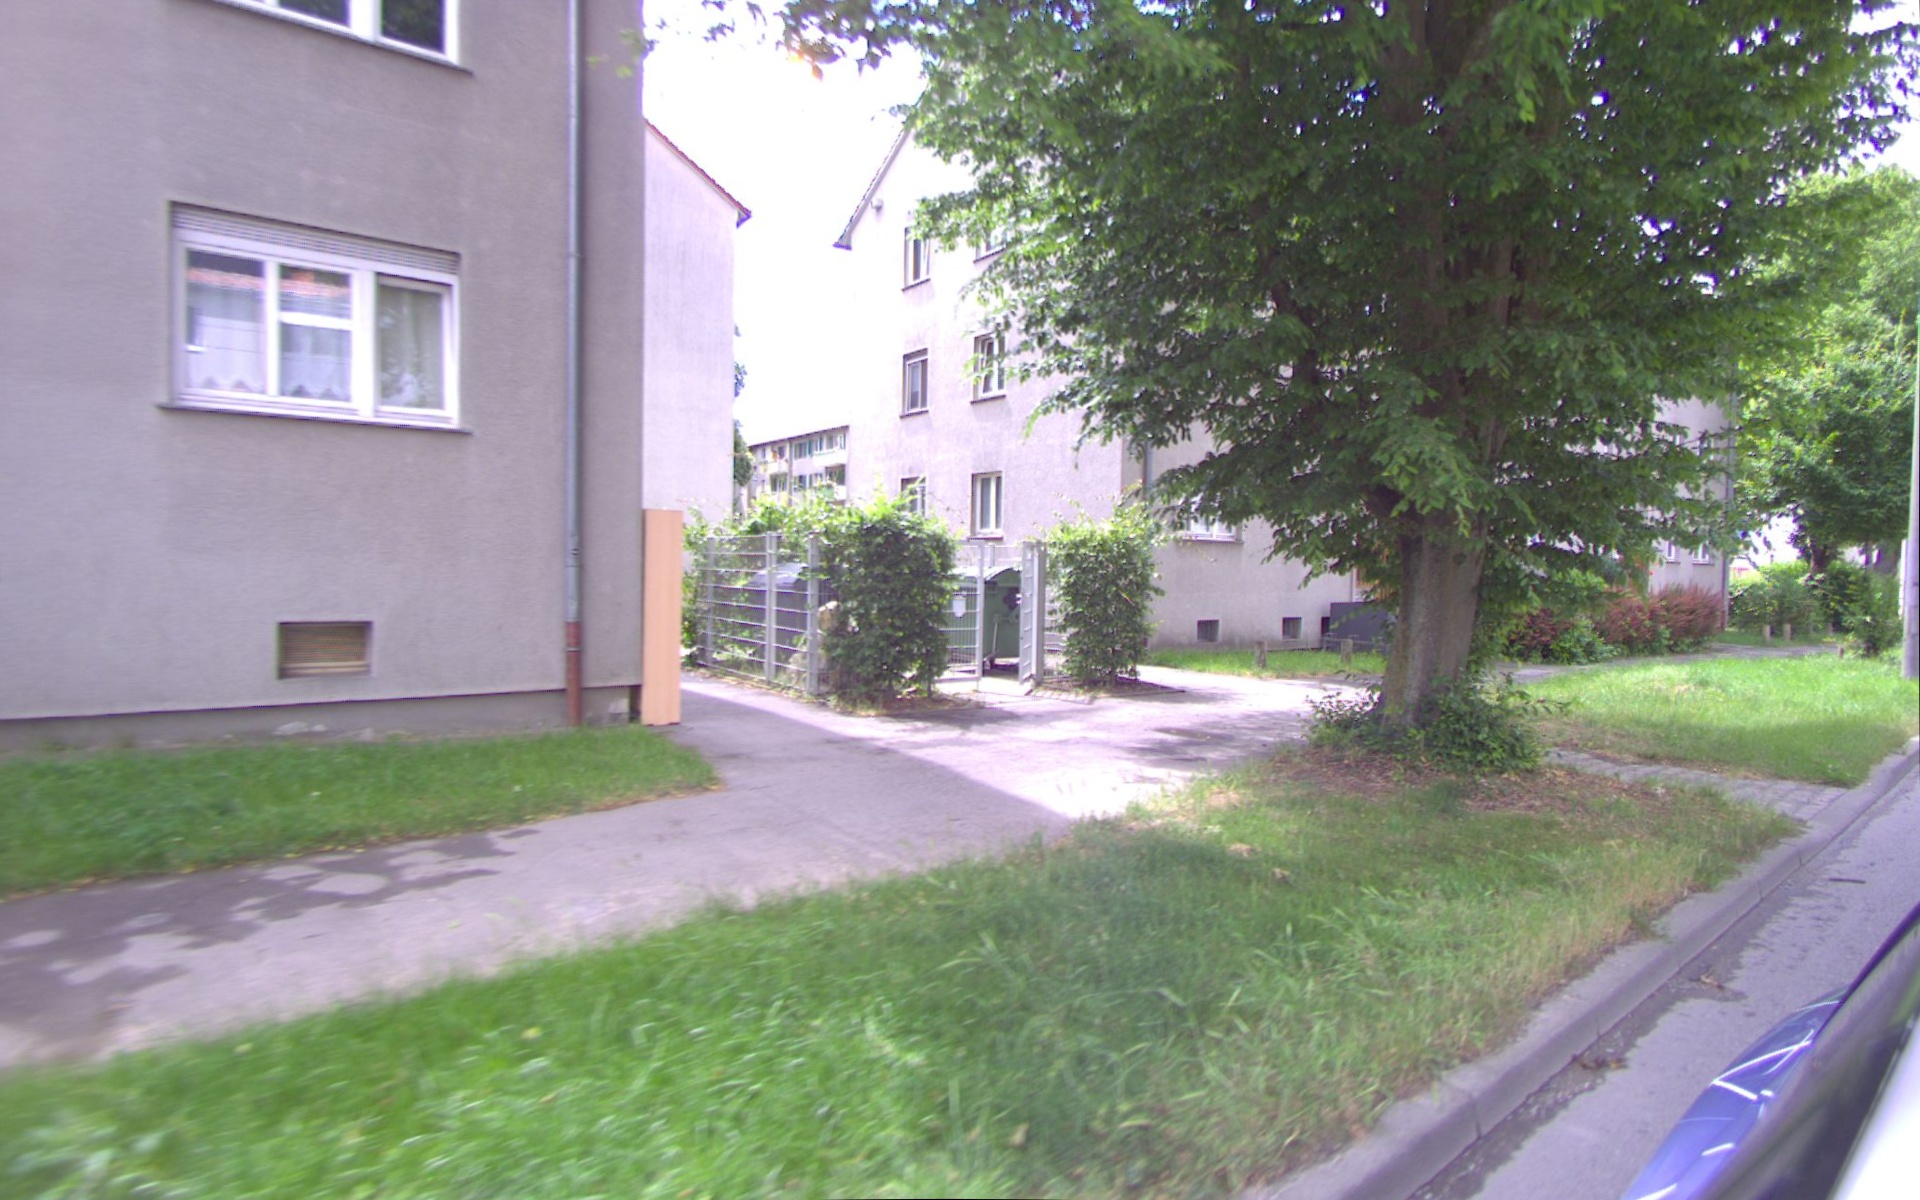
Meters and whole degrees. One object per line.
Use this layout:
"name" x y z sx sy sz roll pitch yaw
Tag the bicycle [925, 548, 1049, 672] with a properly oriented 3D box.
"bicycle" 0.353 0.099 13.797 1.052 1.593 1.351 0 2 -38
